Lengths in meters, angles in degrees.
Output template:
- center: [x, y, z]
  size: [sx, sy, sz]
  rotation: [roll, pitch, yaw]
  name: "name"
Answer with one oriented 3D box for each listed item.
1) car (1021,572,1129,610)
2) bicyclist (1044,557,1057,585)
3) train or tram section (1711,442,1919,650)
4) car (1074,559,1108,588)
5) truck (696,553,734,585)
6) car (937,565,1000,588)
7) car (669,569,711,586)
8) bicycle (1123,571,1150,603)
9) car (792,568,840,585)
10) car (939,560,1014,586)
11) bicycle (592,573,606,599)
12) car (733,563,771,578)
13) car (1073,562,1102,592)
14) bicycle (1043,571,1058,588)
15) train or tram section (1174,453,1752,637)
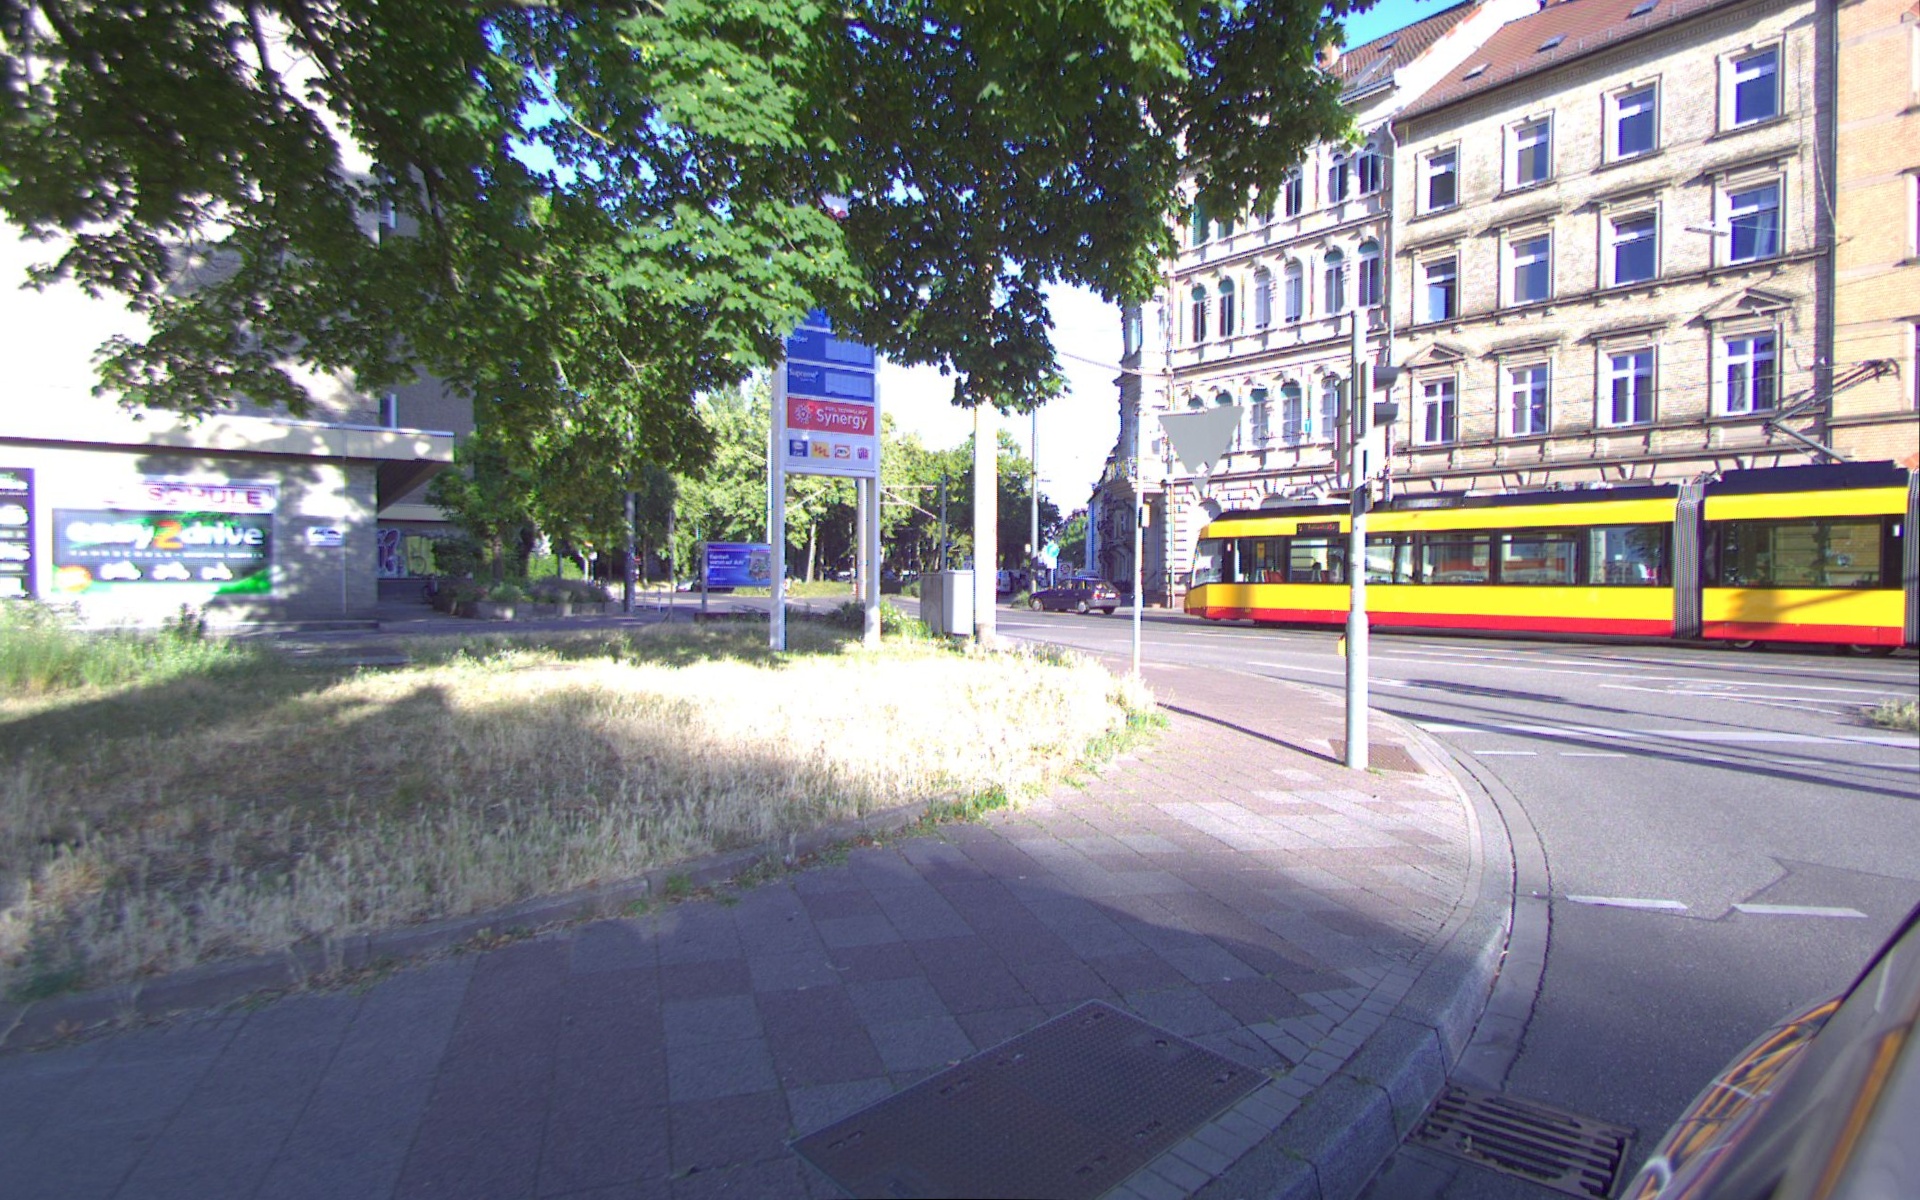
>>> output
- center: [4.404, -0.386, 39.342]
  size: [1.782, 1.397, 4.159]
  rotation: [-1, 2, -39]
  name: "car"
- center: [6.081, -1.906, 67.886]
  size: [0.719, 1.863, 1.207]
  rotation: [0, 0, 15]
  name: "bicyclist"
- center: [17.275, -0.942, 18.395]
  size: [2.819, 3.551, 5.298]
  rotation: [-1, 2, -40]
  name: "train or tram section"
- center: [7.910, -1.627, 60.859]
  size: [1.712, 1.682, 3.985]
  rotation: [1, 2, 13]
  name: "car"
- center: [-22.225, -2.845, 92.122]
  size: [1.964, 2.817, 4.879]
  rotation: [0, 1, 4]
  name: "truck"
- center: [0.588, -1.652, 70.454]
  size: [3.959, 1.526, 1.852]
  rotation: [1, 2, 26]
  name: "car"
- center: [-23.115, -1.975, 86.693]
  size: [1.920, 1.415, 3.987]
  rotation: [1, 2, 12]
  name: "car"
- center: [7.494, -0.574, 42.841]
  size: [0.637, 1.282, 2.670]
  rotation: [1, 2, 21]
  name: "bicycle"
- center: [-11.914, -1.945, 83.762]
  size: [3.644, 1.370, 1.729]
  rotation: [1, 2, 21]
  name: "car"
- center: [1.188, -1.950, 72.651]
  size: [5.008, 1.810, 1.983]
  rotation: [1, 2, 26]
  name: "car"
- center: [-16.906, -0.667, 47.362]
  size: [0.597, 1.148, 2.286]
  rotation: [0, 3, -20]
  name: "bicycle"
- center: [-25.270, -3.558, 123.108]
  size: [4.408, 1.771, 1.978]
  rotation: [1, 2, 31]
  name: "car"
- center: [9.047, -1.664, 71.537]
  size: [1.966, 2.038, 4.627]
  rotation: [0, 2, 8]
  name: "car"
- center: [6.104, -1.374, 67.947]
  size: [0.718, 1.097, 2.108]
  rotation: [0, 1, 14]
  name: "bicycle"
- center: [11.469, -1.218, 25.452]
  size: [2.819, 3.551, 13.001]
  rotation: [-1, 2, -39]
  name: "train or tram section"
